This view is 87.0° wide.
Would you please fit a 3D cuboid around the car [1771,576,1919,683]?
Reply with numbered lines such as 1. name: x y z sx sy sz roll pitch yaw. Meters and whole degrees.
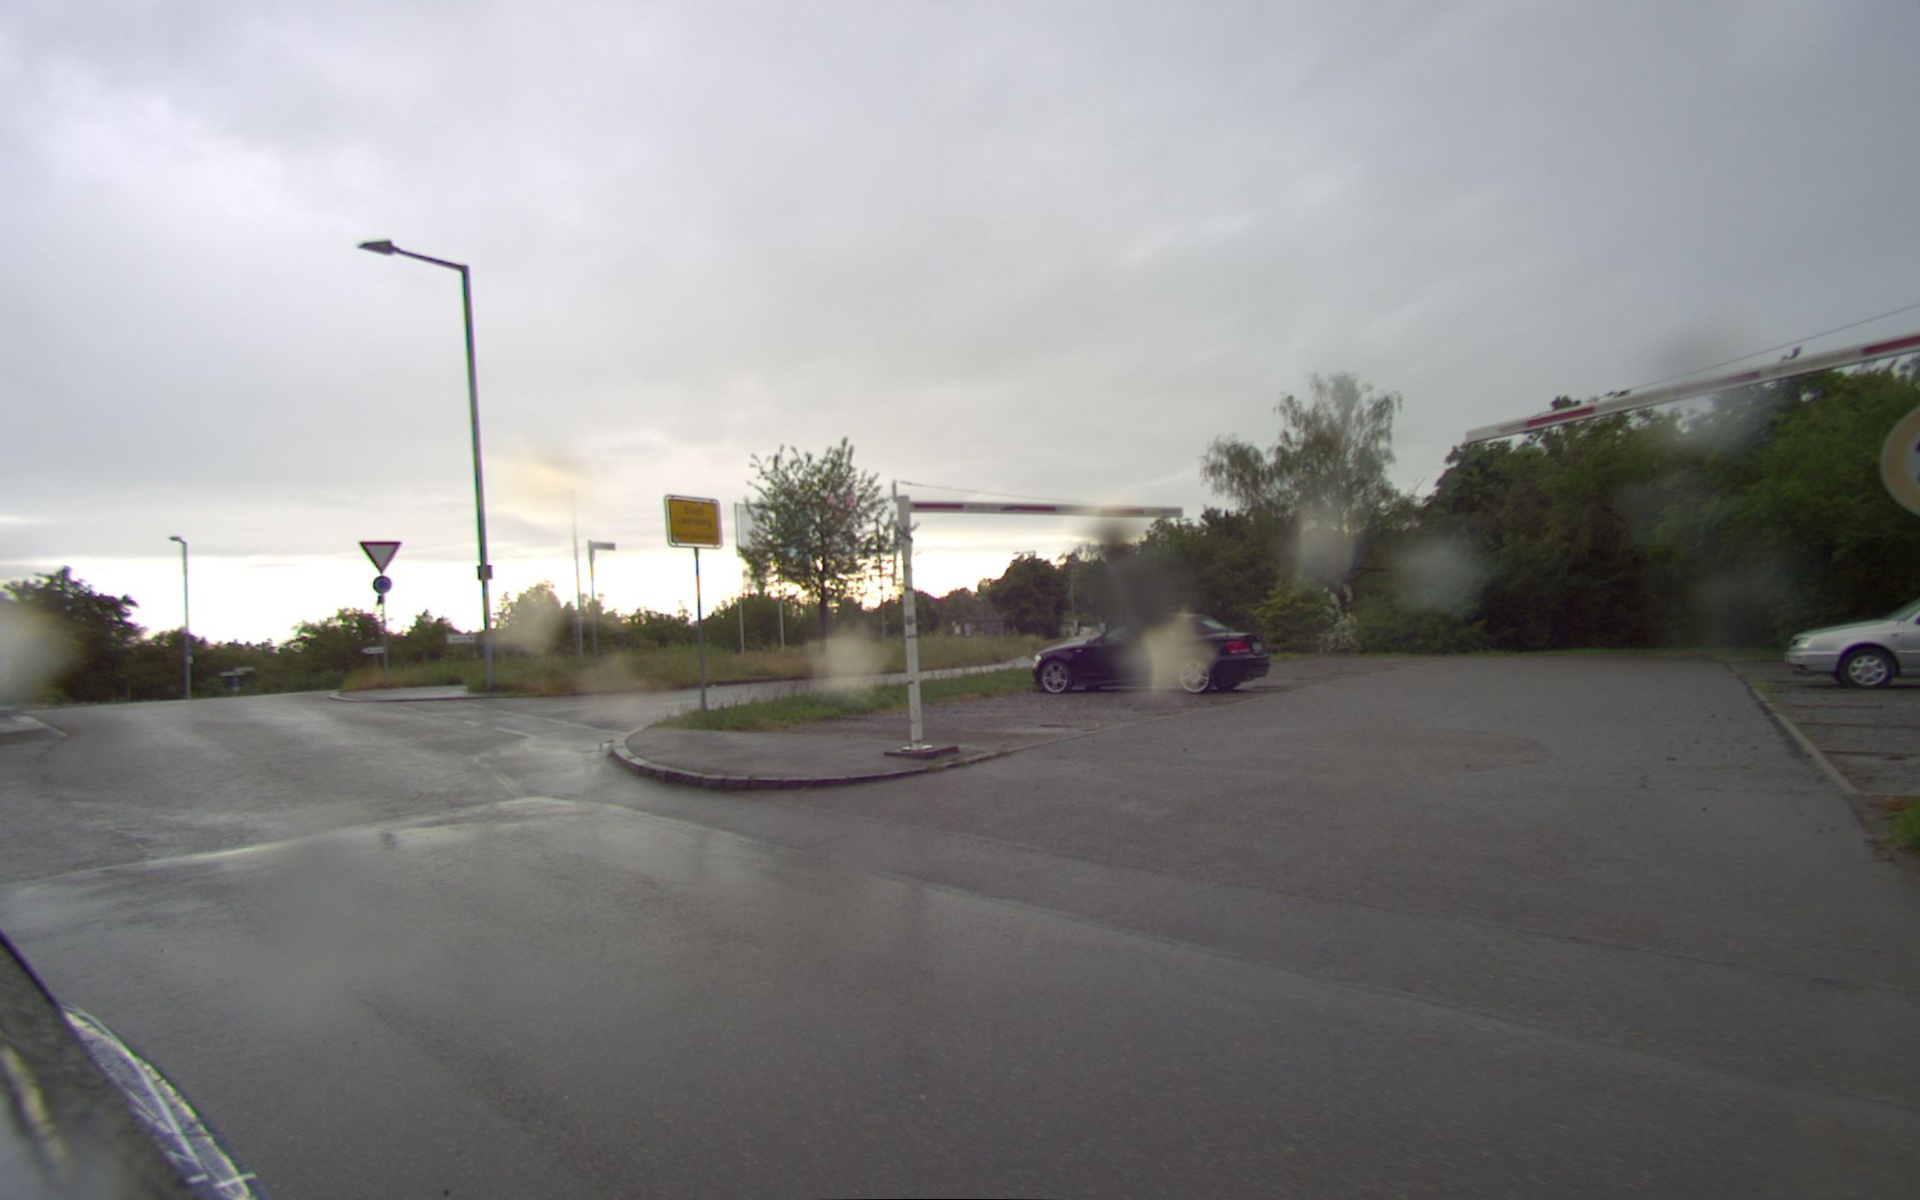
1. car: 13.688 0.360 13.622 4.164 1.409 1.677 -3 -2 36

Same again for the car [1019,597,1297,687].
1. car: 3.470 0.757 18.038 4.417 1.426 1.977 -3 -2 35

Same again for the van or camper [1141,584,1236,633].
1. van or camper: 14.260 0.539 63.413 5.549 2.556 1.993 -5 -2 12
